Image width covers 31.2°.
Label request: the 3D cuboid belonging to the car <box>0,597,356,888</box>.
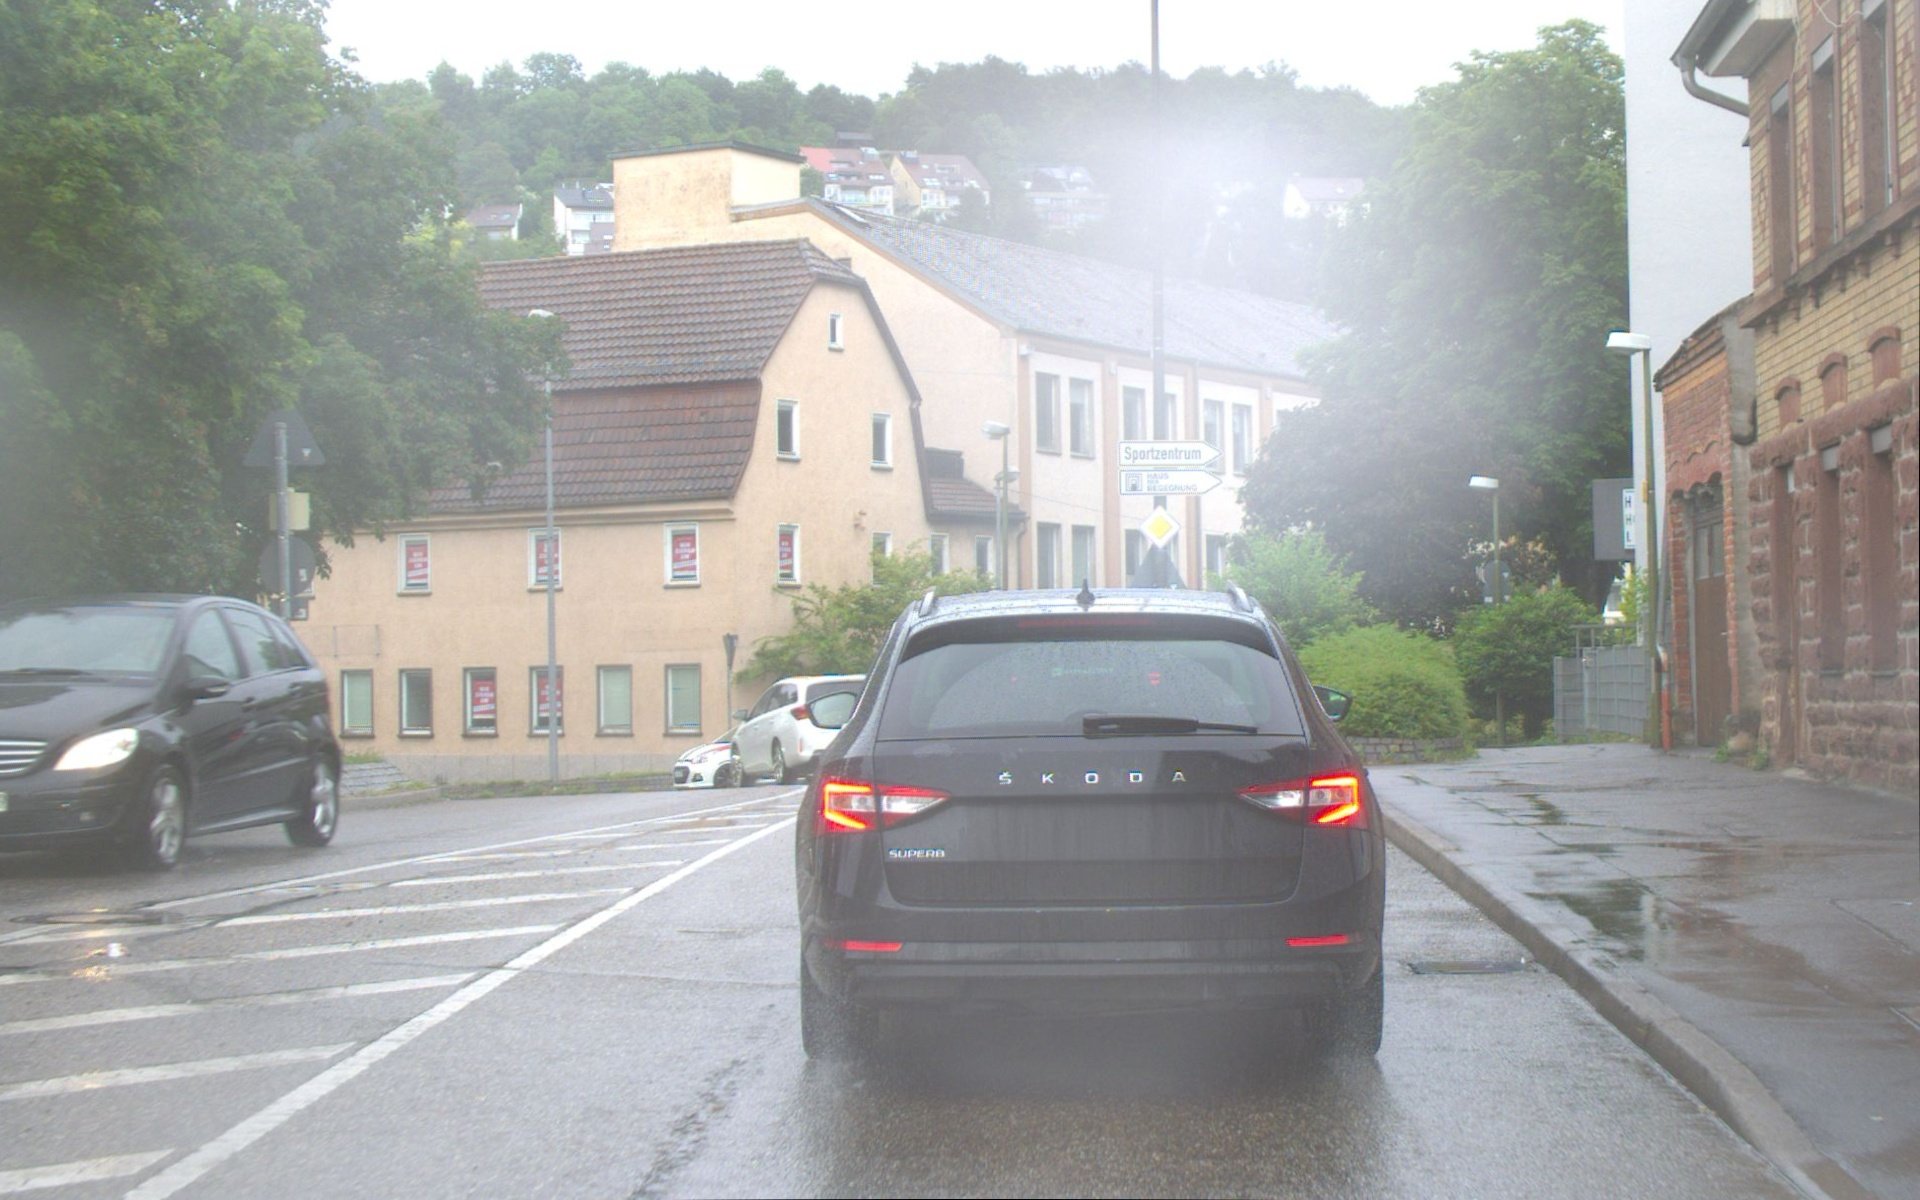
[{"bbox_3d":[-4.992,0.747,20.149,1.641,1.515,4.069,0,0,9],"label":"car"}]

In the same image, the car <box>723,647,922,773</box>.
[{"bbox_3d":[-1.918,1.527,46.568,1.727,1.585,4.184,2,-3,-16],"label":"car"}]

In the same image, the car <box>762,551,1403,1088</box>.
[{"bbox_3d":[0.358,0.641,11.853,1.782,1.478,4.246,-1,-1,0],"label":"car"}]

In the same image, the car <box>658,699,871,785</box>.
[{"bbox_3d":[-3.841,2.785,67.514,3.750,1.448,1.712,-2,-2,-23],"label":"car"}]
